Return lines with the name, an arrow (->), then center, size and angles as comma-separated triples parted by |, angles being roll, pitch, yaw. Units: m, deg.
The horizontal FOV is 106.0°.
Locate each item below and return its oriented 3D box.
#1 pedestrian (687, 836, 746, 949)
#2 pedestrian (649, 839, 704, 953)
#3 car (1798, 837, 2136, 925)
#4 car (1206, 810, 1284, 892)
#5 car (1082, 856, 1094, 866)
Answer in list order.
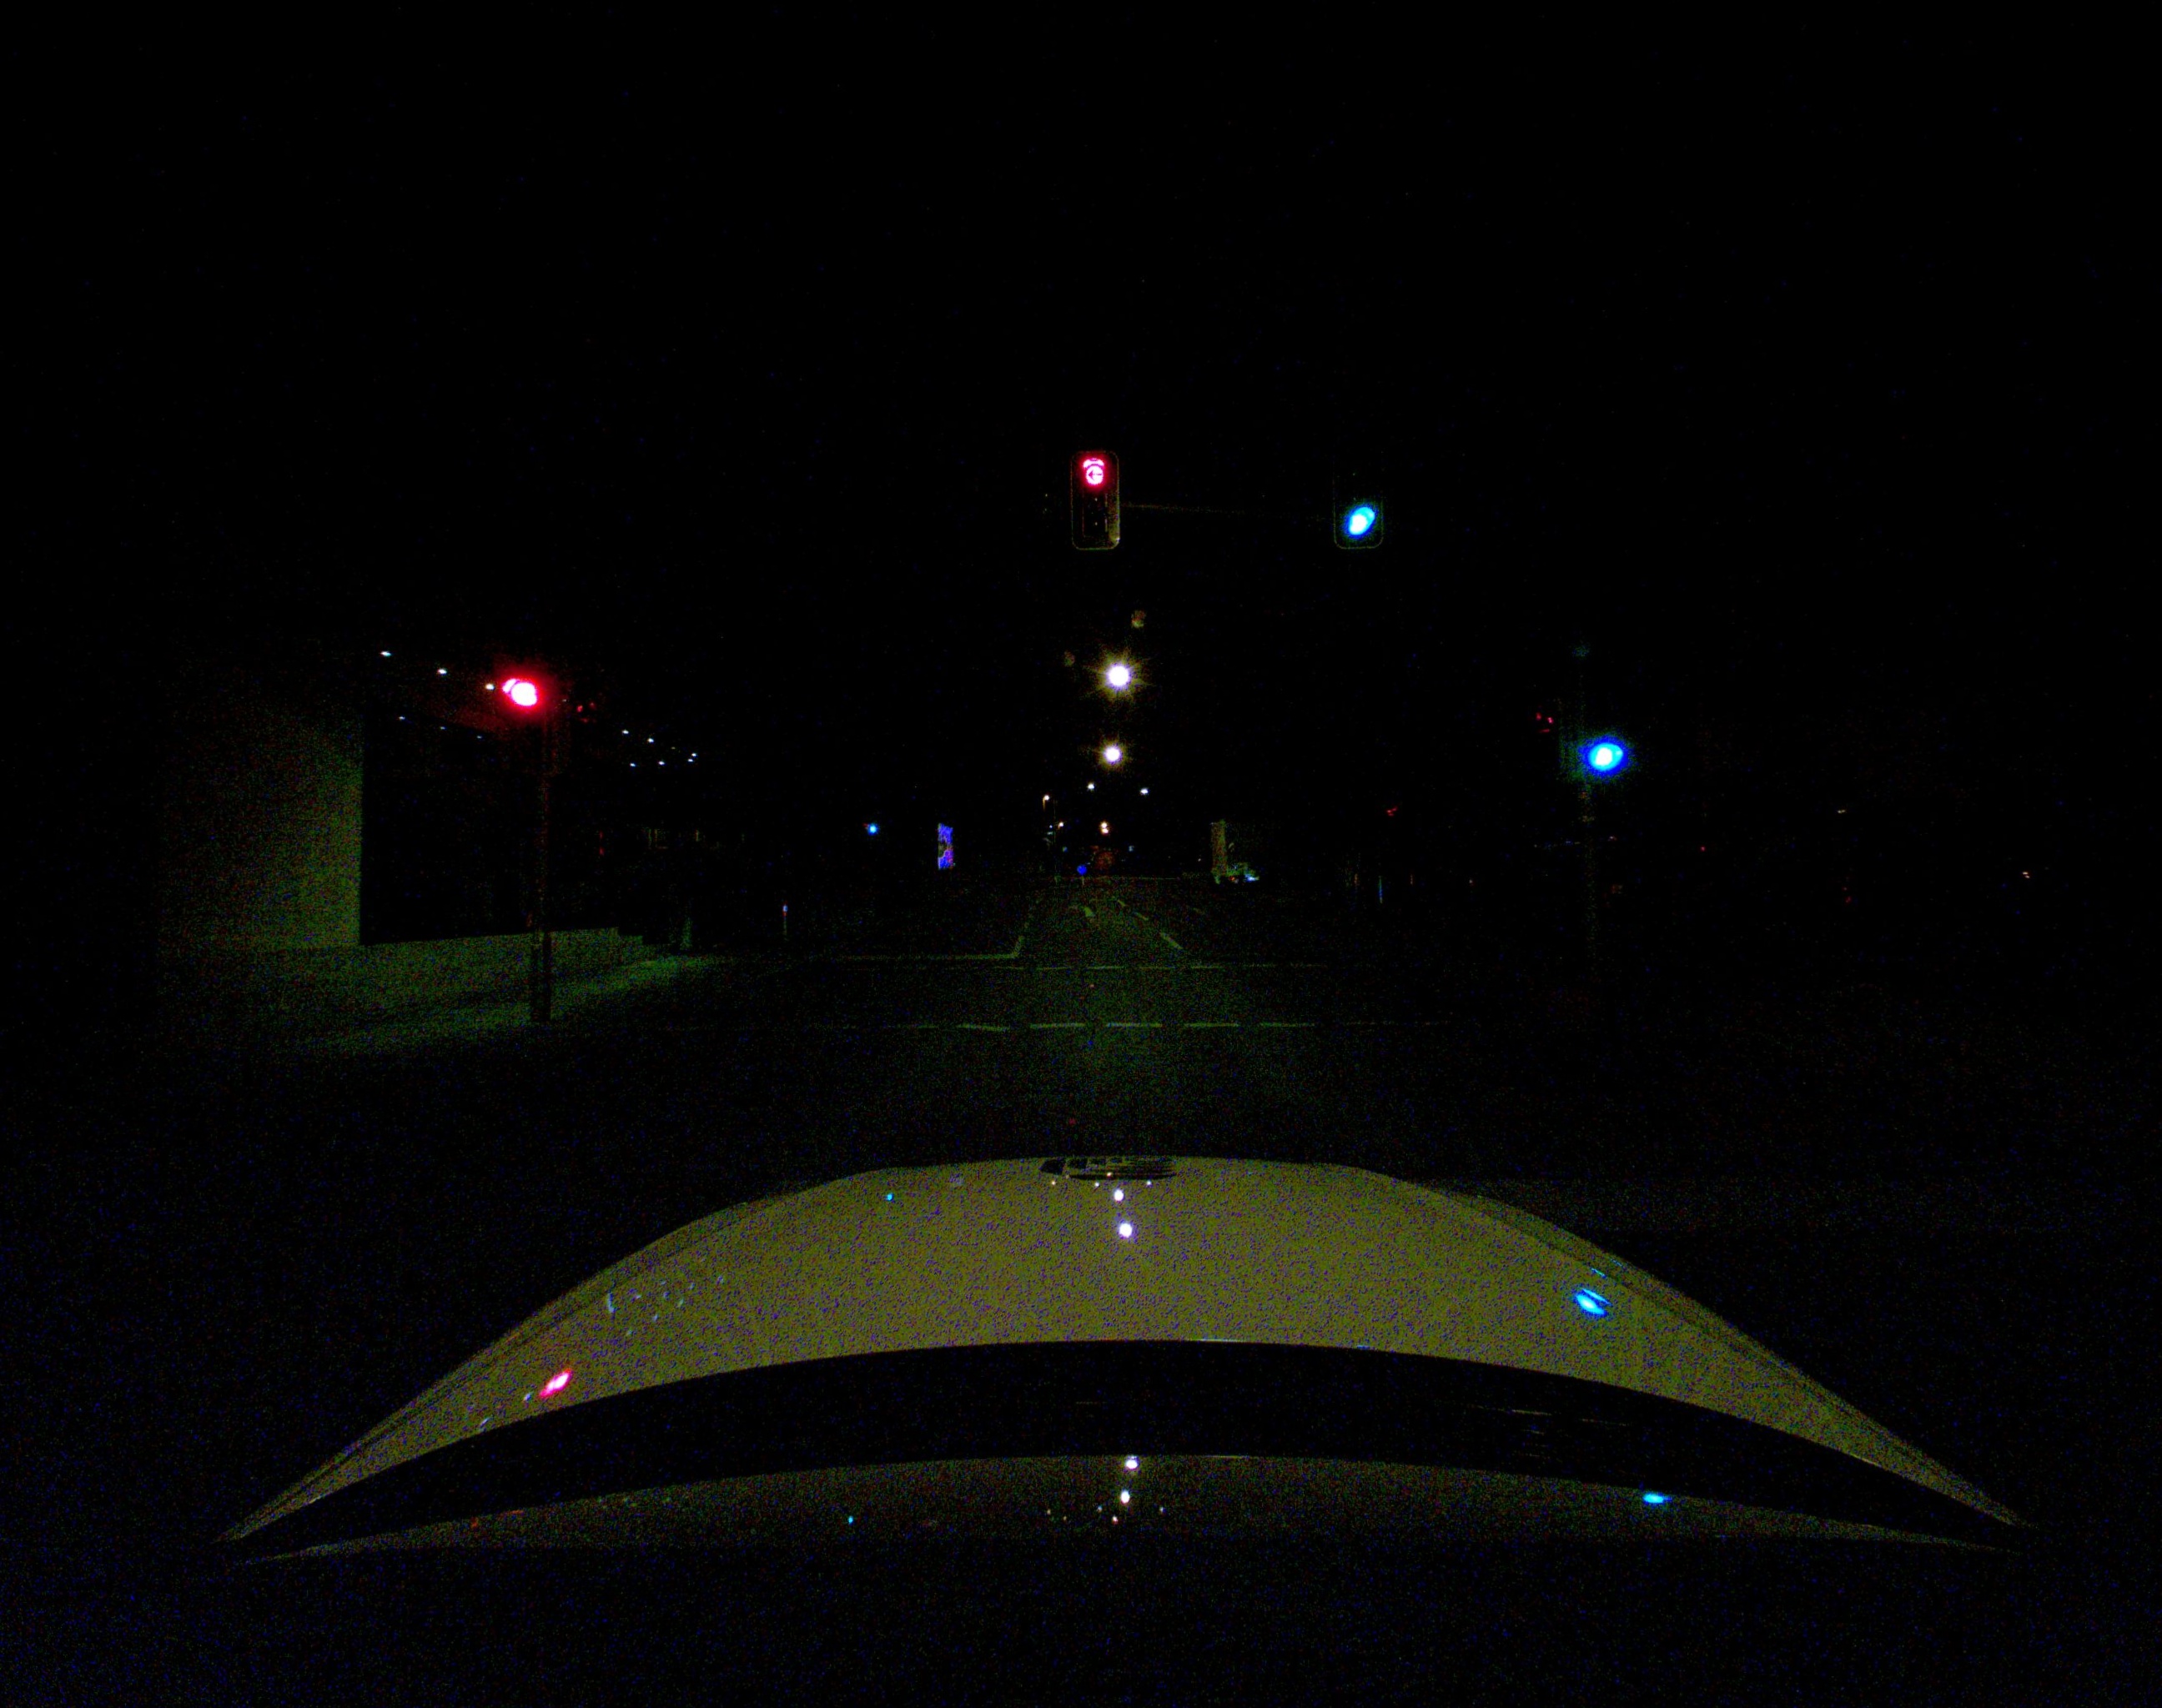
pedestrian -> -5.955, 0.614, 13.339 | 0.568, 1.778, 0.737 | 1, -1, 1
pedestrian -> -6.321, 0.645, 12.739 | 0.568, 1.731, 0.544 | 0, -1, 1
car -> 17.454, 0.562, 16.285 | 4.342, 1.560, 1.807 | -2, -3, 8
car -> 6.761, -0.100, 34.270 | 2.287, 3.093, 5.845 | -2, -1, 3
car -> 1.236, 1.164, 134.589 | 1.901, 1.557, 3.906 | 0, -1, 2
